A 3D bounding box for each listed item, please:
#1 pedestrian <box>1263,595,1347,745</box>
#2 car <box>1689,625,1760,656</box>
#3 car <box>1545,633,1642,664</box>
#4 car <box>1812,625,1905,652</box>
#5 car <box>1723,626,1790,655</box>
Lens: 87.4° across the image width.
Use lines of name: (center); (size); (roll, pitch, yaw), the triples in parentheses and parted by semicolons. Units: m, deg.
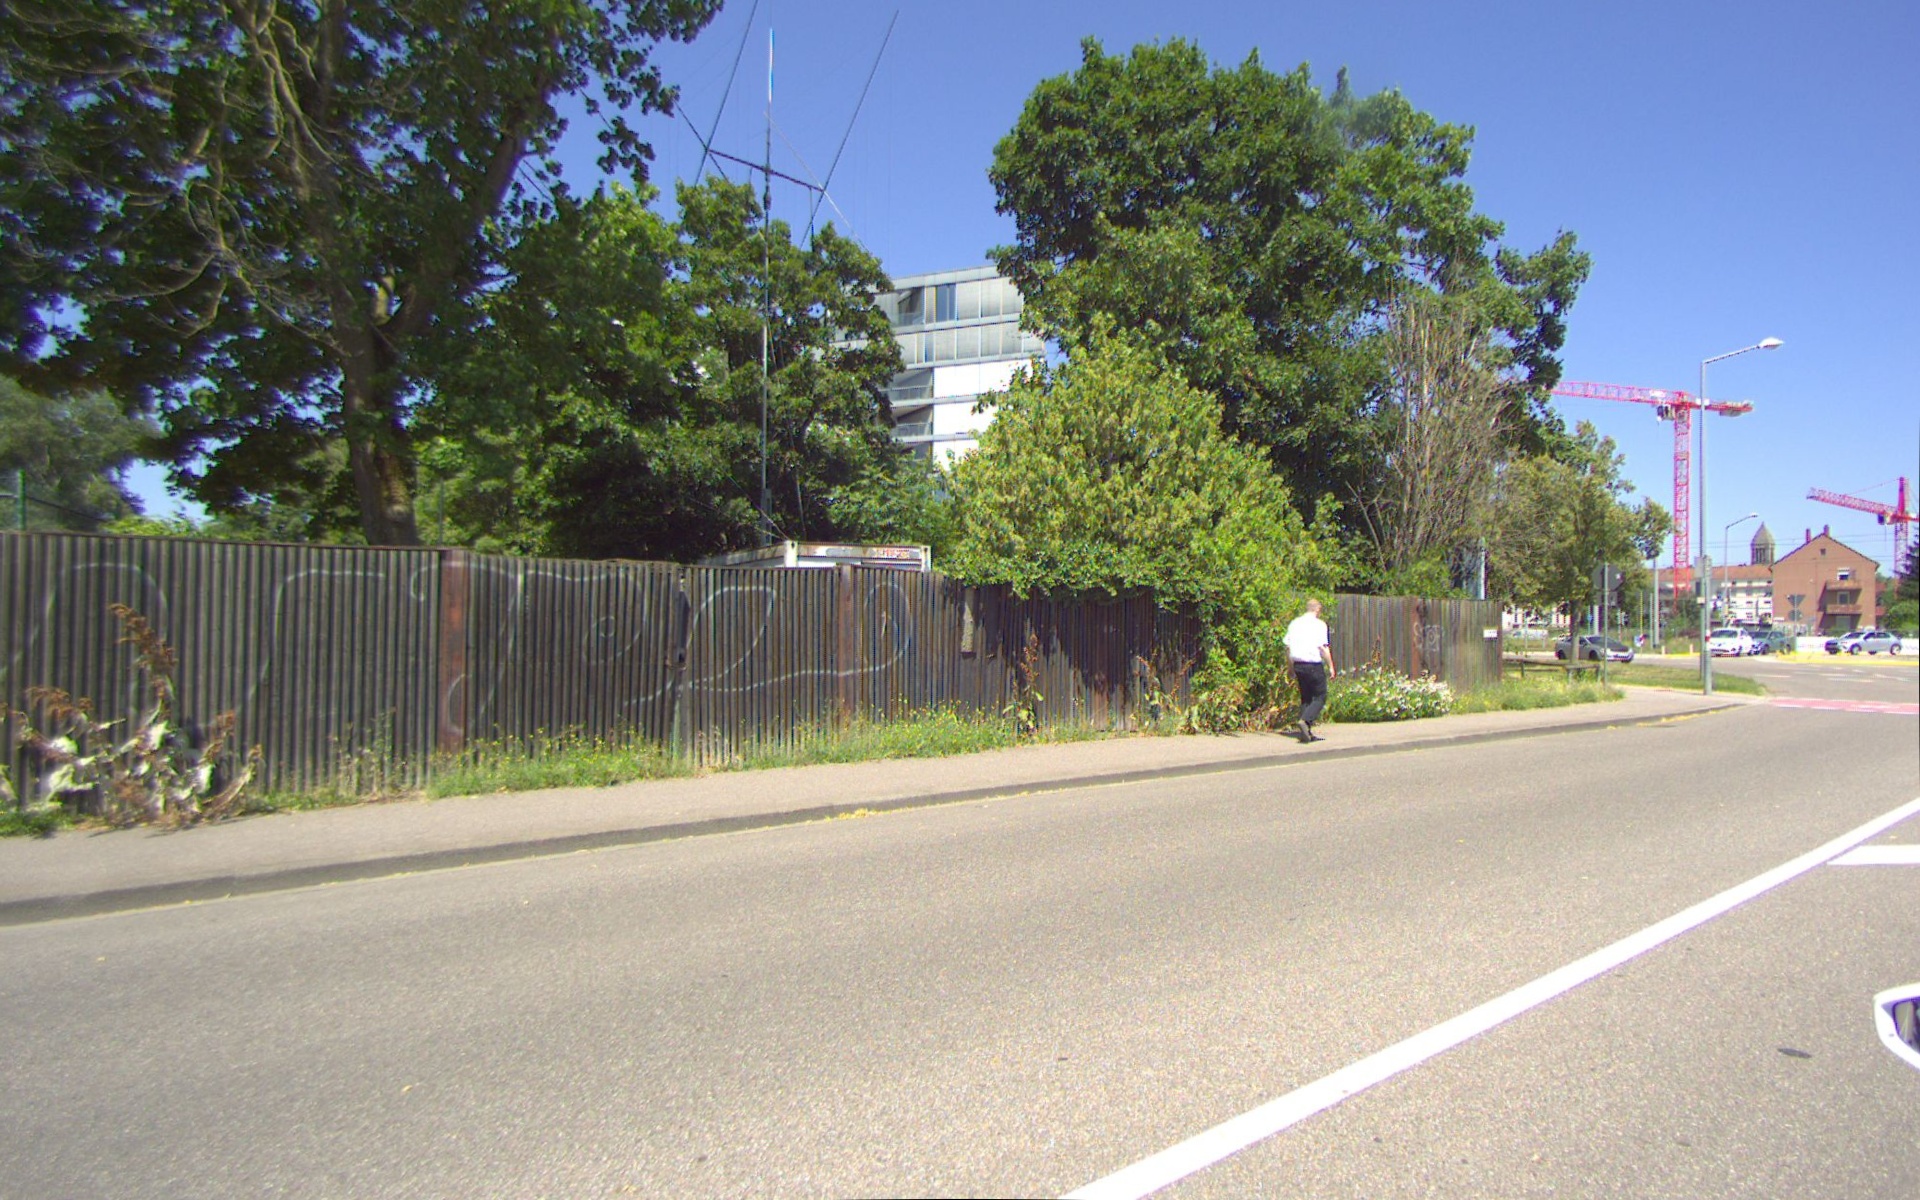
pedestrian: (4.419, 0.876, 12.871); (0.840, 1.849, 0.590); (1, 0, -29)
car: (42.075, 2.226, 55.279); (3.953, 1.570, 1.748); (2, -1, -30)
car: (31.300, 2.363, 49.799); (1.789, 1.334, 4.273); (1, -1, -7)
car: (55.605, 2.379, 62.204); (4.136, 1.520, 1.713); (1, -1, 3)
car: (46.473, 2.355, 58.606); (3.953, 1.570, 1.748); (2, -1, -30)
